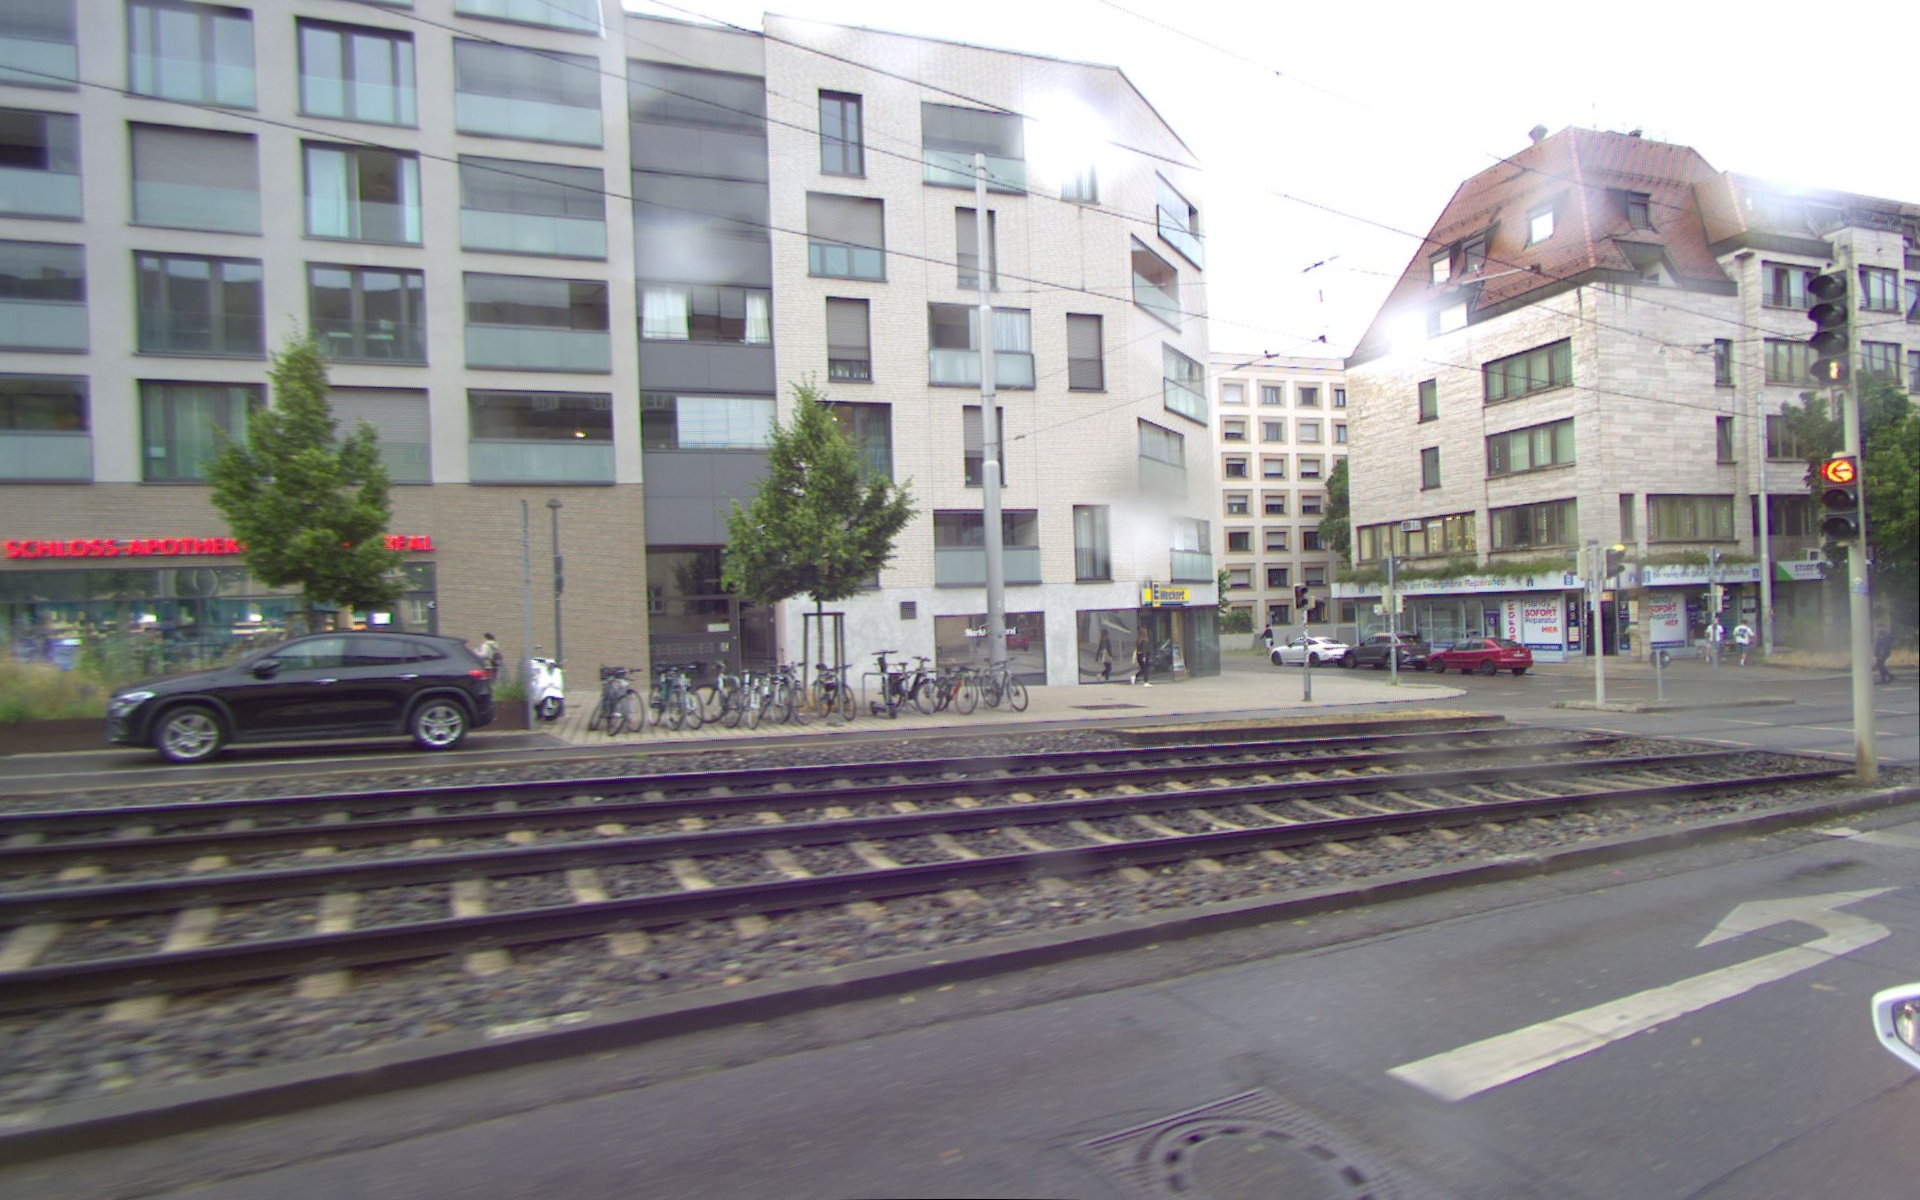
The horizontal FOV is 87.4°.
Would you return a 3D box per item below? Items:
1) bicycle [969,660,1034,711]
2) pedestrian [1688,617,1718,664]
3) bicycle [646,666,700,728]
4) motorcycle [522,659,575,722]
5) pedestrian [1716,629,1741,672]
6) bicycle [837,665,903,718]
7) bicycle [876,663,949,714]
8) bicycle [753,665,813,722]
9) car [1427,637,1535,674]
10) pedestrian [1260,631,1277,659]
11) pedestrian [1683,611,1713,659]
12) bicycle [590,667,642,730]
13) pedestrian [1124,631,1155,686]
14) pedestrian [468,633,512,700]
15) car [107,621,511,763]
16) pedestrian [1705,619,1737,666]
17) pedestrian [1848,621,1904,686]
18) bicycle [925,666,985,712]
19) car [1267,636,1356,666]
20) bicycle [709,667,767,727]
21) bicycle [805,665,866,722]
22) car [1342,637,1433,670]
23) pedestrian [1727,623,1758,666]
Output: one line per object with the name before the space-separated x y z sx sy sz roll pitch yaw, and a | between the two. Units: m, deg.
bicycle | 0.866 1.785 21.339 0.436 0.993 1.773 2 -2 -33
pedestrian | 28.749 1.551 38.870 0.674 1.772 0.646 2 0 -21
bicycle | -4.966 1.649 17.321 0.383 0.930 1.773 2 -1 -33
motorcycle | -7.458 1.609 18.164 0.537 1.056 1.749 3 -4 -32
pedestrian | 29.699 1.935 38.818 0.577 1.619 0.503 2 0 -21
bicycle | -1.771 1.764 19.596 0.384 0.930 1.770 2 -2 -37
bicycle | -0.989 1.799 20.662 1.765 0.930 0.385 0 -1 44
bicycle | -3.235 1.675 18.262 0.383 0.930 1.773 2 -2 -33
car | 20.217 2.139 39.144 1.569 1.335 3.689 2 -2 -20
pedestrian | 17.526 2.539 57.075 0.640 1.569 0.680 2 0 -21
pedestrian | 29.275 1.372 39.851 0.674 1.867 0.646 2 0 -21
bicycle | -5.784 1.623 16.846 0.383 0.930 1.773 2 -2 -33
pedestrian | 5.303 1.705 29.672 0.637 1.590 0.775 0 -1 33
pedestrian | -10.616 1.509 22.718 0.790 1.468 0.539 2 0 -17
car | -8.465 1.146 13.490 4.280 1.625 1.672 2 -1 -31
pedestrian | 29.001 1.600 38.277 0.674 1.747 0.646 2 0 -21
pedestrian | 27.148 1.585 29.782 0.947 1.854 0.927 2 0 -27
bicycle | -0.128 1.809 20.651 0.383 0.887 1.775 2 -3 -31
car | 16.876 2.440 48.446 1.569 1.335 4.482 2 -2 -20
bicycle | -3.894 1.672 17.540 0.383 0.930 1.773 2 -2 -33
bicycle | -2.374 1.741 18.966 0.383 0.930 1.773 2 -1 -33
car | 18.570 2.308 43.771 1.569 1.335 3.689 2 -2 -20
pedestrian | 29.294 1.668 37.607 0.674 1.569 0.646 2 0 -21
